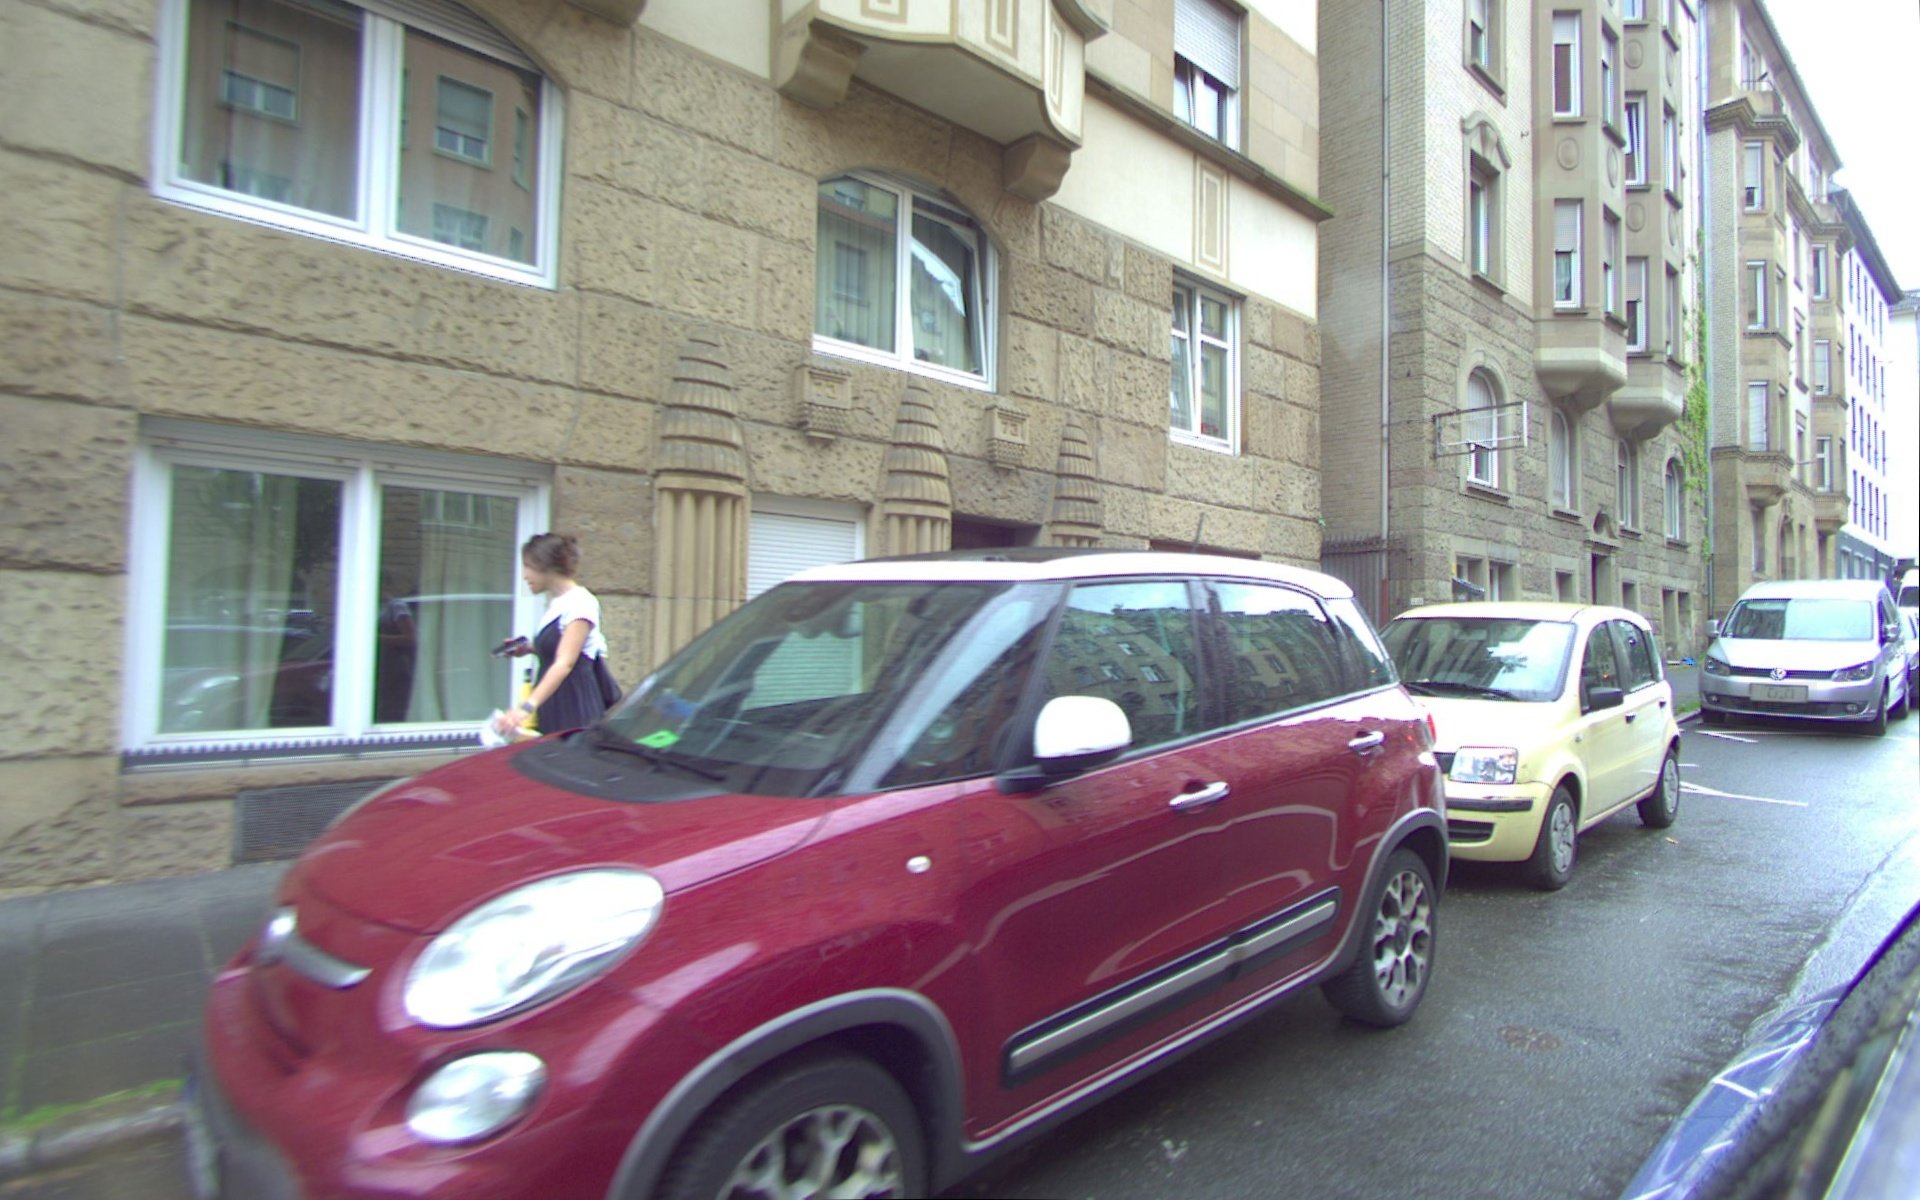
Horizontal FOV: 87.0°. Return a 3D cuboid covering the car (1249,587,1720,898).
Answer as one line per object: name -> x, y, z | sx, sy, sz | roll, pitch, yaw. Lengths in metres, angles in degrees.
car -> 3.542, 0.704, 6.607 | 3.400, 1.497, 1.561 | 0, -2, -41

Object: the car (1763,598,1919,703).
car -> 14.506, 0.711, 16.190 | 3.931, 1.459, 1.996 | 0, 0, -42

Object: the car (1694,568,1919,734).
car -> 11.116, 0.553, 13.037 | 4.284, 1.799, 1.777 | 0, 0, -41

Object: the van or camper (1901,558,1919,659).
van or camper -> 26.423, 0.190, 26.418 | 6.012, 2.500, 2.068 | -1, 0, -41

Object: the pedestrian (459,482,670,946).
pedestrian -> -1.721, 0.433, 4.365 | 0.598, 1.755, 0.863 | 0, -1, -41

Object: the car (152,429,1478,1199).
car -> 0.007, 0.628, 3.237 | 3.933, 1.649, 1.712 | 0, -1, -43

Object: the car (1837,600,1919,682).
car -> 18.002, 0.728, 19.122 | 3.931, 1.429, 1.678 | 0, -2, -42
